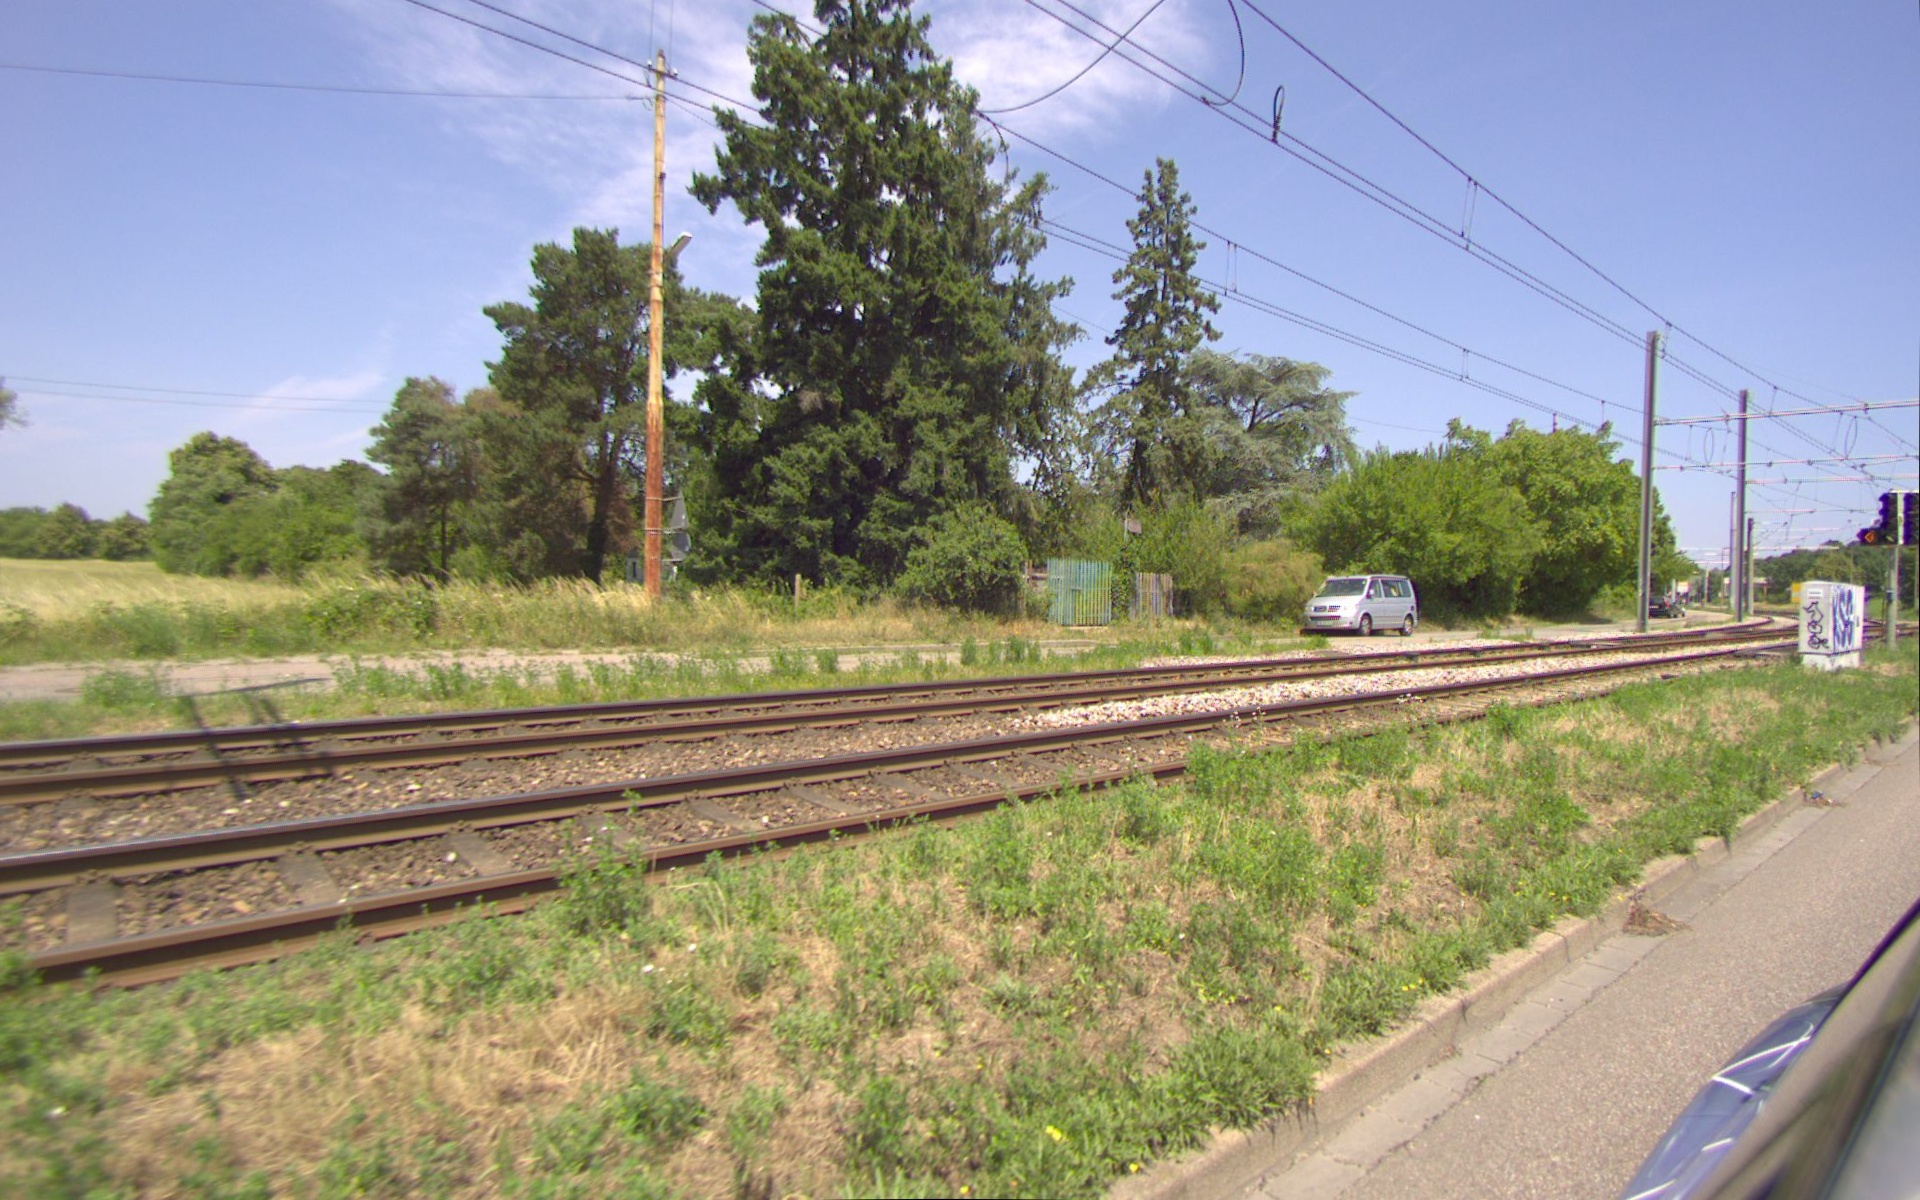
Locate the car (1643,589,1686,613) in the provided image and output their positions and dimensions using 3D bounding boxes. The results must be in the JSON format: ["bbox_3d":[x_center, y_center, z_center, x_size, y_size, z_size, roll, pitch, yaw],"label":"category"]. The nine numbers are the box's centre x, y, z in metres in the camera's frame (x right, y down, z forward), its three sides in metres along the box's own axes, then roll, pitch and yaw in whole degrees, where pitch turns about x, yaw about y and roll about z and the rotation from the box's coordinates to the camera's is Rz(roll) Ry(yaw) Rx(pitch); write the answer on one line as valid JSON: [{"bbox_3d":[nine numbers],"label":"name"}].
[{"bbox_3d":[46.348,0.054,66.508,1.795,1.444,4.670,2,2,41],"label":"car"}]

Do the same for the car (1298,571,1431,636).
[{"bbox_3d":[12.941,0.039,32.228,4.985,1.905,2.038,-1,2,-44],"label":"car"}]
